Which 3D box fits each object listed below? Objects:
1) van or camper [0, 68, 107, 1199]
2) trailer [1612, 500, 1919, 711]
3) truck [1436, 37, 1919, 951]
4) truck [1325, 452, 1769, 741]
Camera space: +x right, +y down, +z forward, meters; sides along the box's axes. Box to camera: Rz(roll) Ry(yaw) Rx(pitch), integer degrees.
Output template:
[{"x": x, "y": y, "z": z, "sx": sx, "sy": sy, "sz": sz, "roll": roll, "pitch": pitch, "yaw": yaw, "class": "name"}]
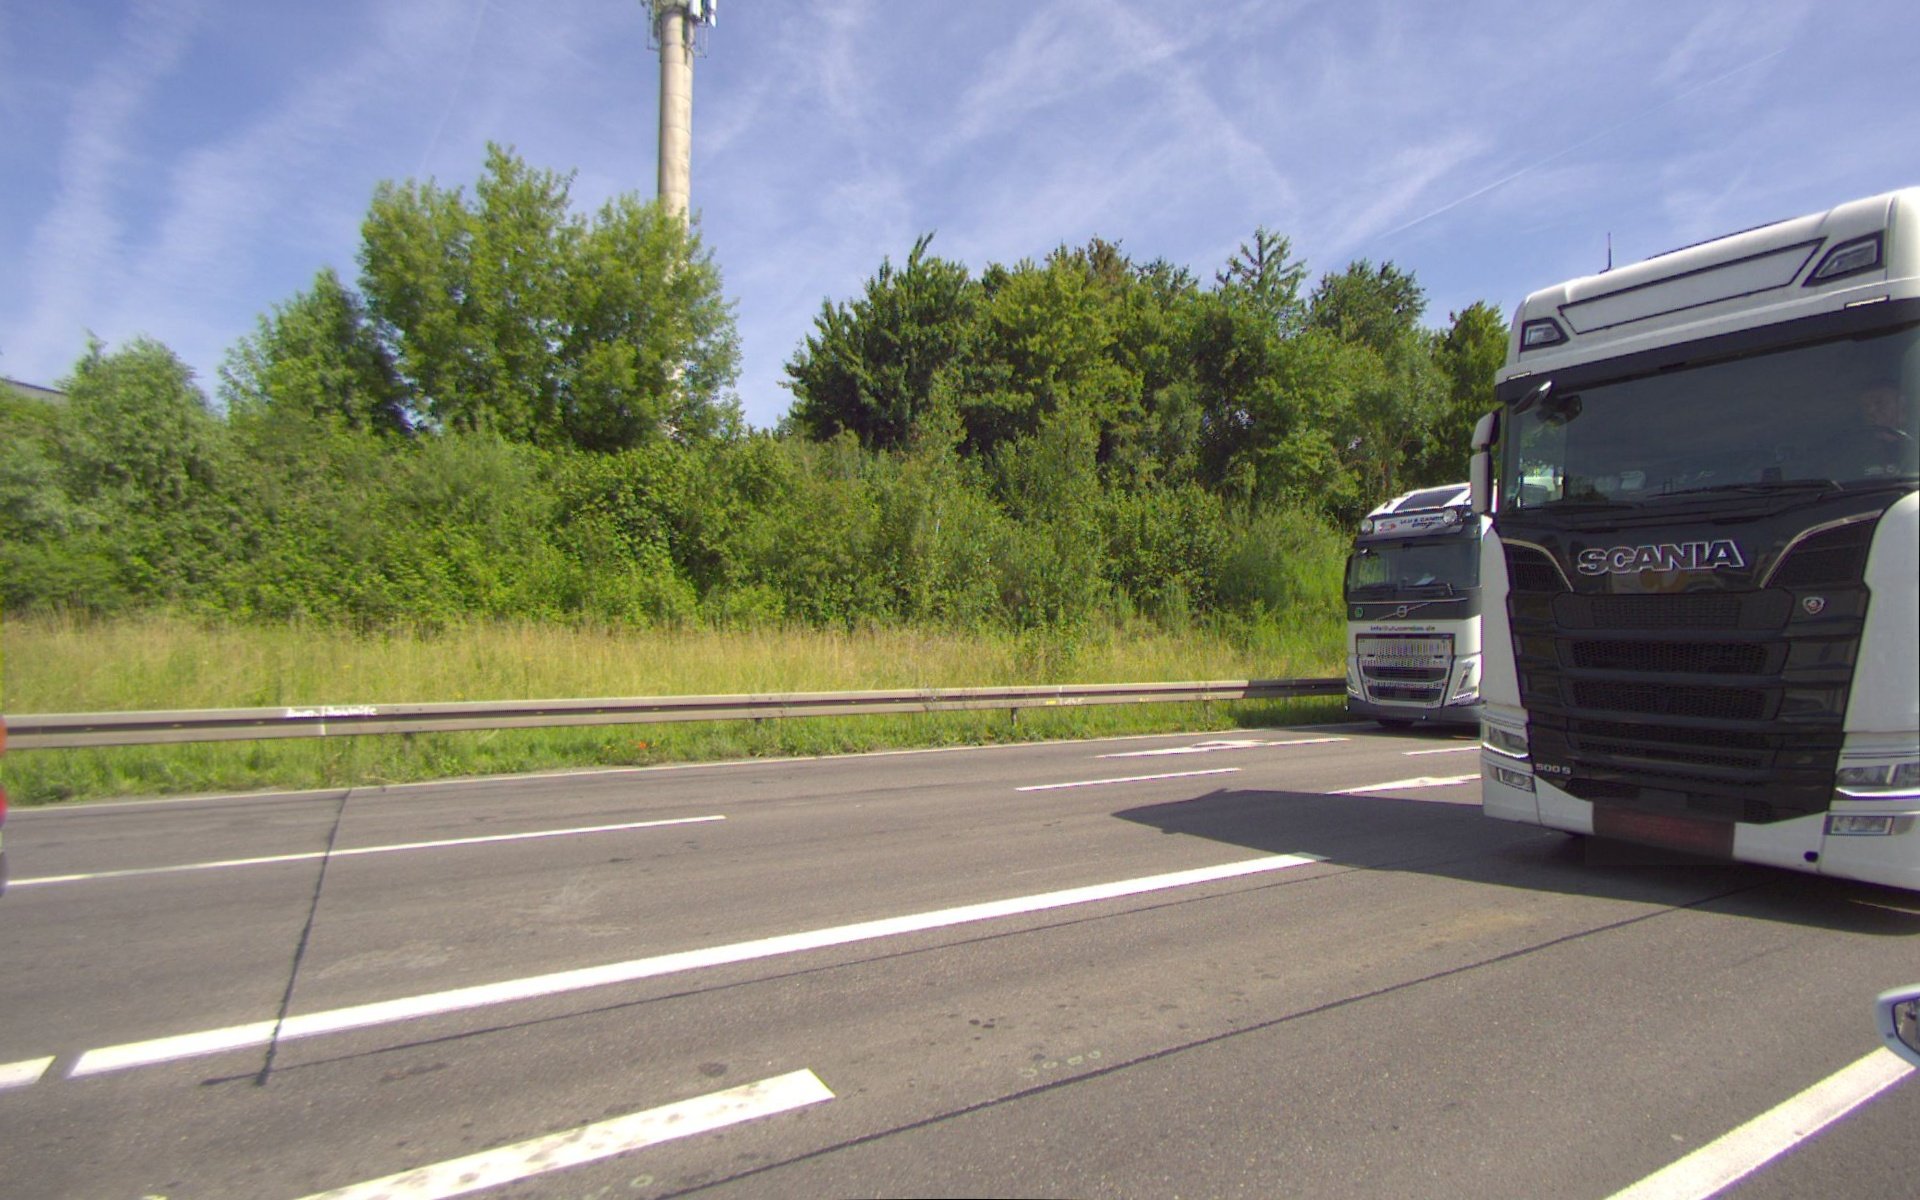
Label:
[{"x": -4.989, "y": 0.068, "z": 0.266, "sx": 6.903, "sy": 2.634, "sz": 2.318, "roll": 2, "pitch": -2, "yaw": -33, "class": "van or camper"}, {"x": 18.696, "y": 0.254, "z": 23.083, "sx": 8.658, "sy": 4.123, "sz": 2.825, "roll": 2, "pitch": -2, "yaw": -32, "class": "trailer"}, {"x": 6.392, "y": -0.379, "z": 7.137, "sx": 6.196, "sy": 4.141, "sz": 2.524, "roll": 2, "pitch": -2, "yaw": -32, "class": "truck"}, {"x": 10.914, "y": 0.114, "z": 18.197, "sx": 9.574, "sy": 4.170, "sz": 2.815, "roll": 2, "pitch": -2, "yaw": -32, "class": "truck"}]
